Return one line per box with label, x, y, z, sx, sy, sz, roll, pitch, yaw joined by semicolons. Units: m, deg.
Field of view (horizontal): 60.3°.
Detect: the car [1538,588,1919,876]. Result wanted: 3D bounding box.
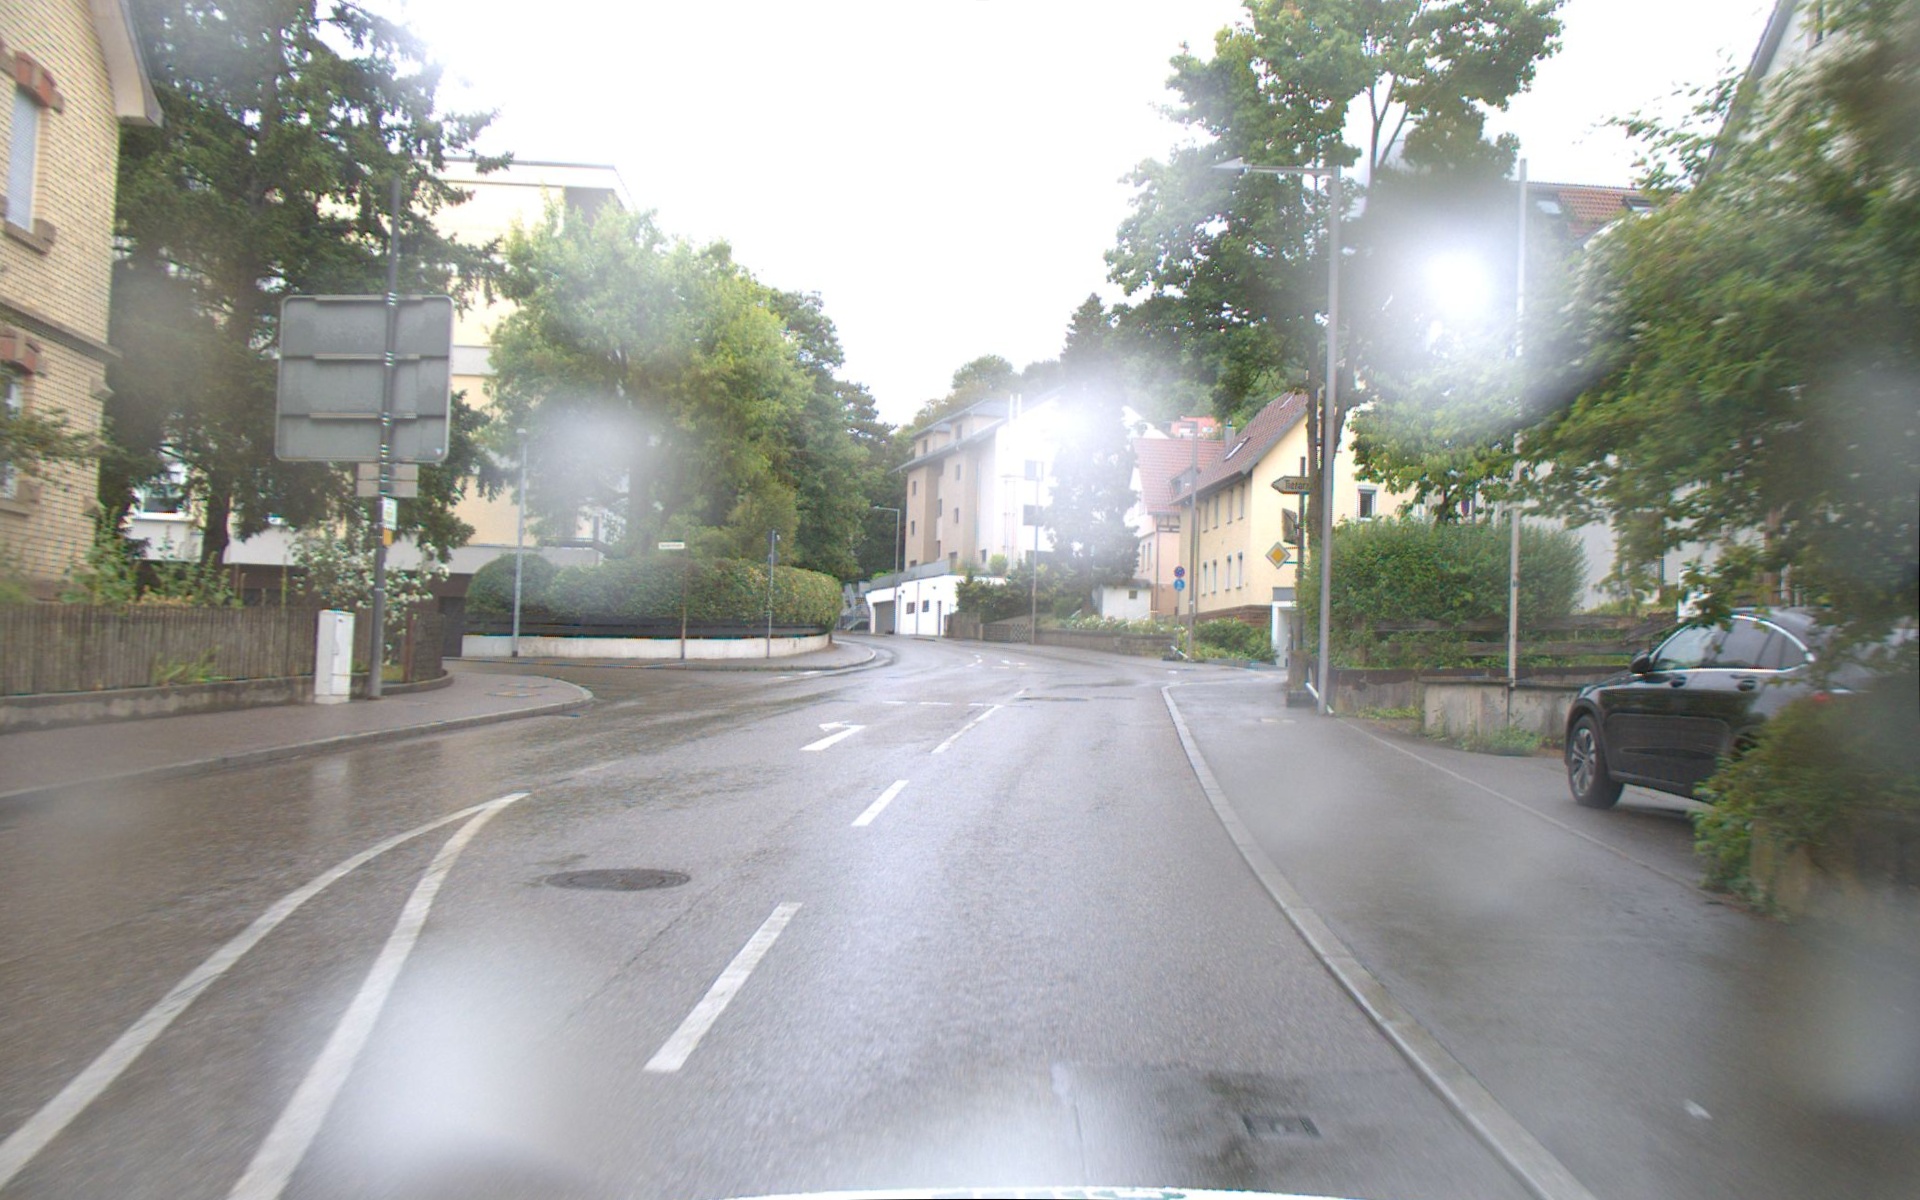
car;5.842;0.799;11.736;1.744;1.597;4.727;4;0;0
